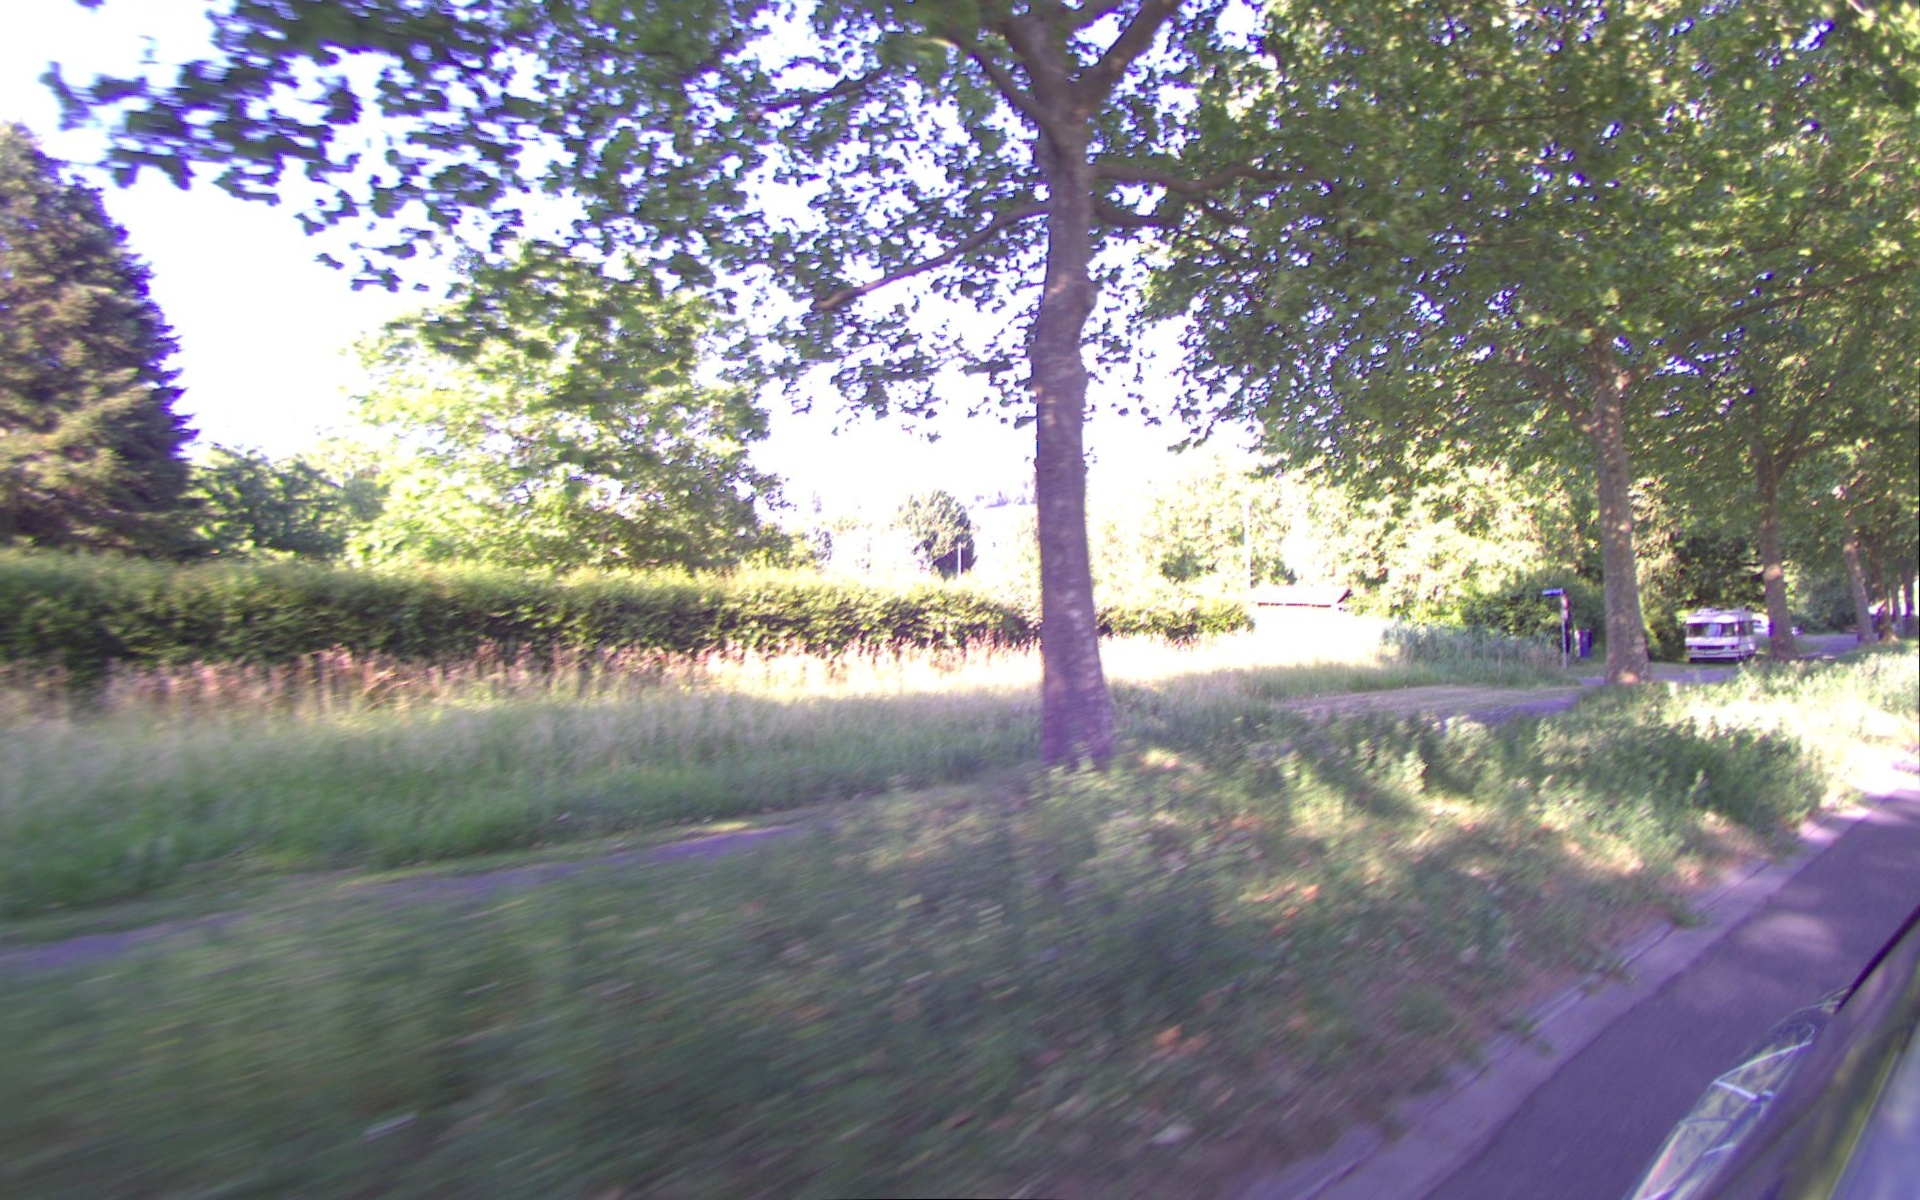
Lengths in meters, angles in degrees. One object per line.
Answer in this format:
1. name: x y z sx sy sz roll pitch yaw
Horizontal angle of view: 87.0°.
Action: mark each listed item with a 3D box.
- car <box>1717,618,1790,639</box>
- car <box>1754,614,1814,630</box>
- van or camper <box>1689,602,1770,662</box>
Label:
1. car: 67.359 2.398 85.940 1.963 1.691 4.513 0 0 -37
2. car: 76.281 1.991 93.724 1.963 1.404 3.998 0 0 -37
3. van or camper: 38.815 1.549 50.973 5.590 2.835 2.382 0 0 -44
